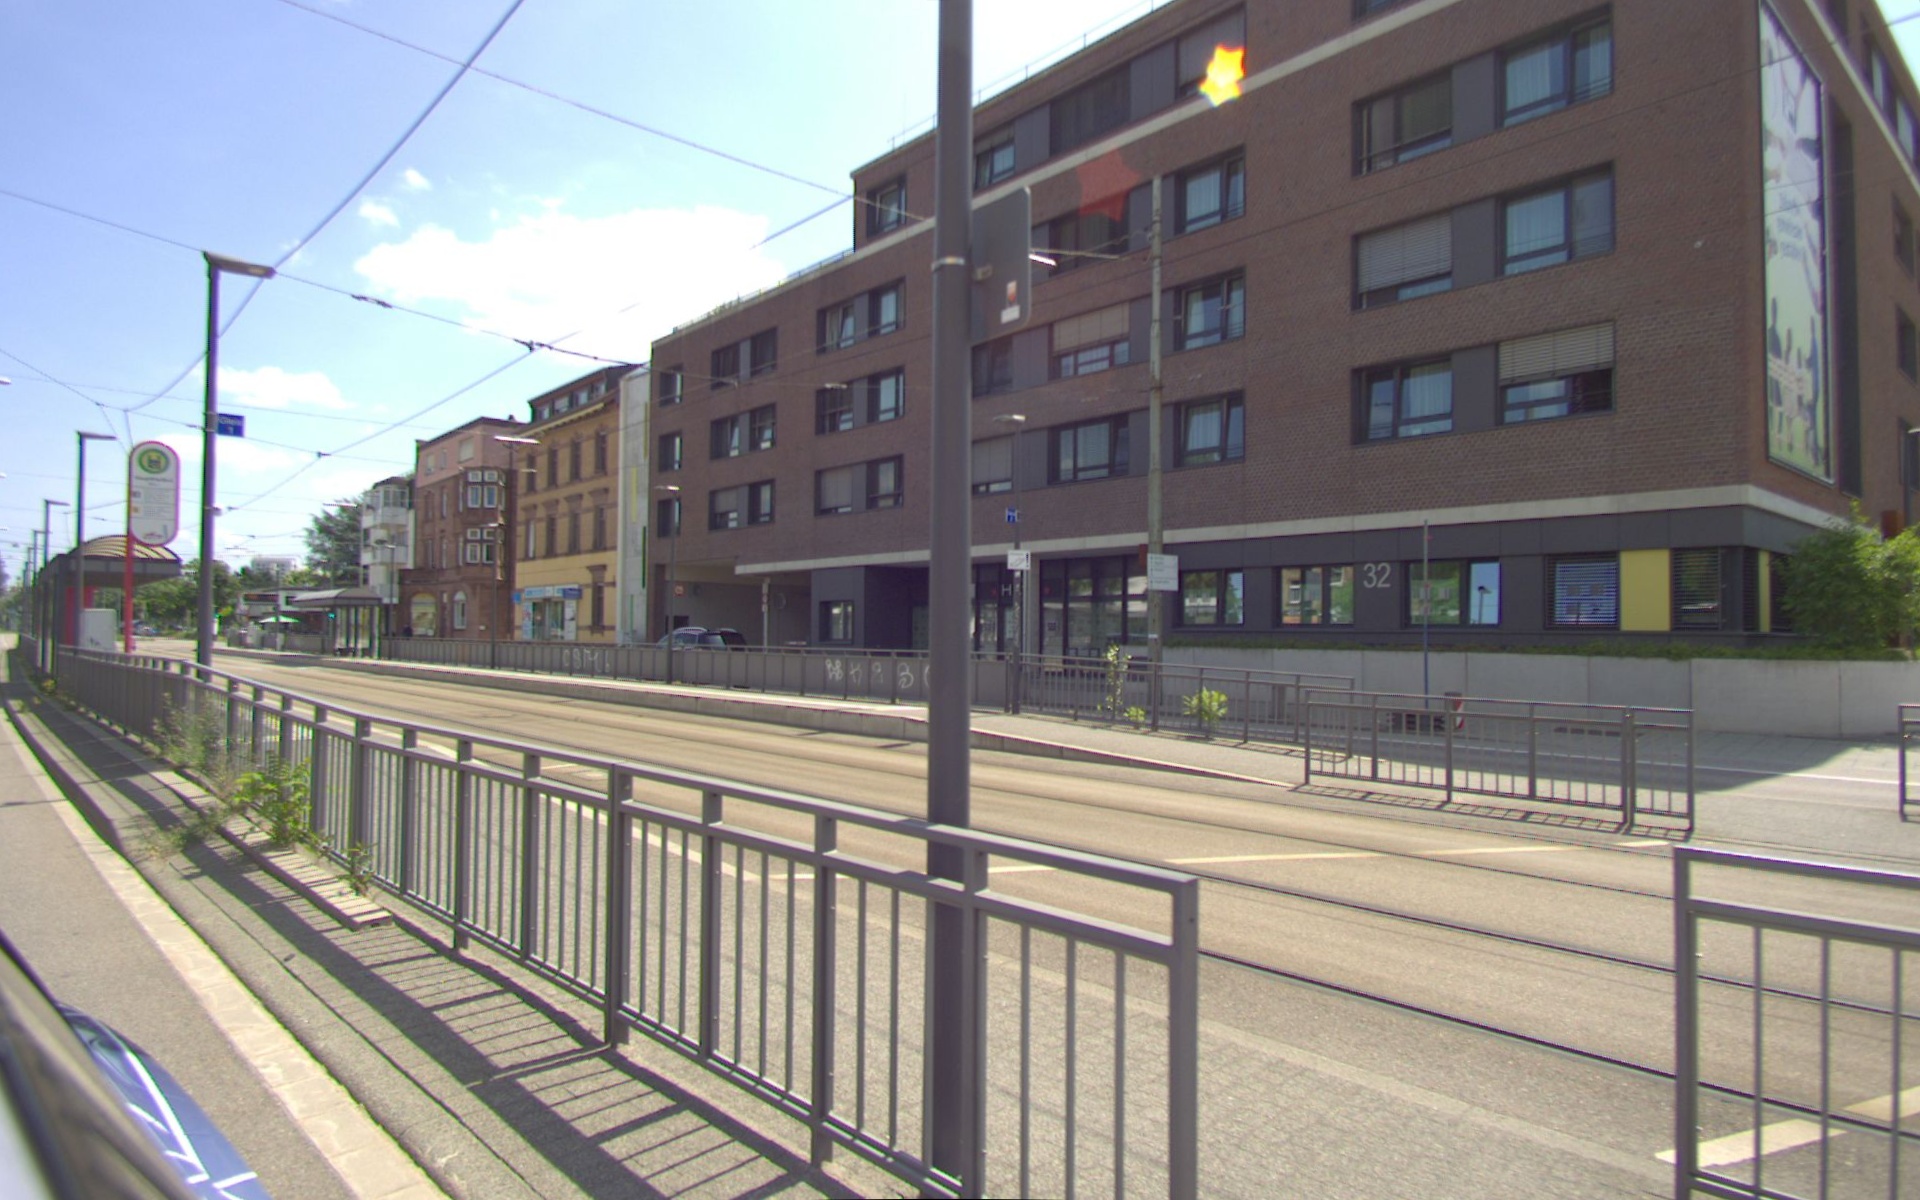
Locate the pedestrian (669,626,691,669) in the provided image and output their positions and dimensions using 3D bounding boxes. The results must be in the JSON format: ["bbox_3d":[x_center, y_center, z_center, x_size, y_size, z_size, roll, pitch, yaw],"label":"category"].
[{"bbox_3d":[-9.177,1.565,33.189,0.430,1.395,0.536,5,-4,-44],"label":"pedestrian"}]

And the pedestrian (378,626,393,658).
[{"bbox_3d":[-36.758,2.667,64.793,0.685,2.029,0.669,-1,-2,44],"label":"pedestrian"}]

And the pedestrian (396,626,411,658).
[{"bbox_3d":[-36.011,2.710,65.488,0.811,2.029,0.610,-2,-3,44],"label":"pedestrian"}]

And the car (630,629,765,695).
[{"bbox_3d":[-7.210,1.674,27.633,3.773,1.640,1.816,-1,-4,44],"label":"car"}]
